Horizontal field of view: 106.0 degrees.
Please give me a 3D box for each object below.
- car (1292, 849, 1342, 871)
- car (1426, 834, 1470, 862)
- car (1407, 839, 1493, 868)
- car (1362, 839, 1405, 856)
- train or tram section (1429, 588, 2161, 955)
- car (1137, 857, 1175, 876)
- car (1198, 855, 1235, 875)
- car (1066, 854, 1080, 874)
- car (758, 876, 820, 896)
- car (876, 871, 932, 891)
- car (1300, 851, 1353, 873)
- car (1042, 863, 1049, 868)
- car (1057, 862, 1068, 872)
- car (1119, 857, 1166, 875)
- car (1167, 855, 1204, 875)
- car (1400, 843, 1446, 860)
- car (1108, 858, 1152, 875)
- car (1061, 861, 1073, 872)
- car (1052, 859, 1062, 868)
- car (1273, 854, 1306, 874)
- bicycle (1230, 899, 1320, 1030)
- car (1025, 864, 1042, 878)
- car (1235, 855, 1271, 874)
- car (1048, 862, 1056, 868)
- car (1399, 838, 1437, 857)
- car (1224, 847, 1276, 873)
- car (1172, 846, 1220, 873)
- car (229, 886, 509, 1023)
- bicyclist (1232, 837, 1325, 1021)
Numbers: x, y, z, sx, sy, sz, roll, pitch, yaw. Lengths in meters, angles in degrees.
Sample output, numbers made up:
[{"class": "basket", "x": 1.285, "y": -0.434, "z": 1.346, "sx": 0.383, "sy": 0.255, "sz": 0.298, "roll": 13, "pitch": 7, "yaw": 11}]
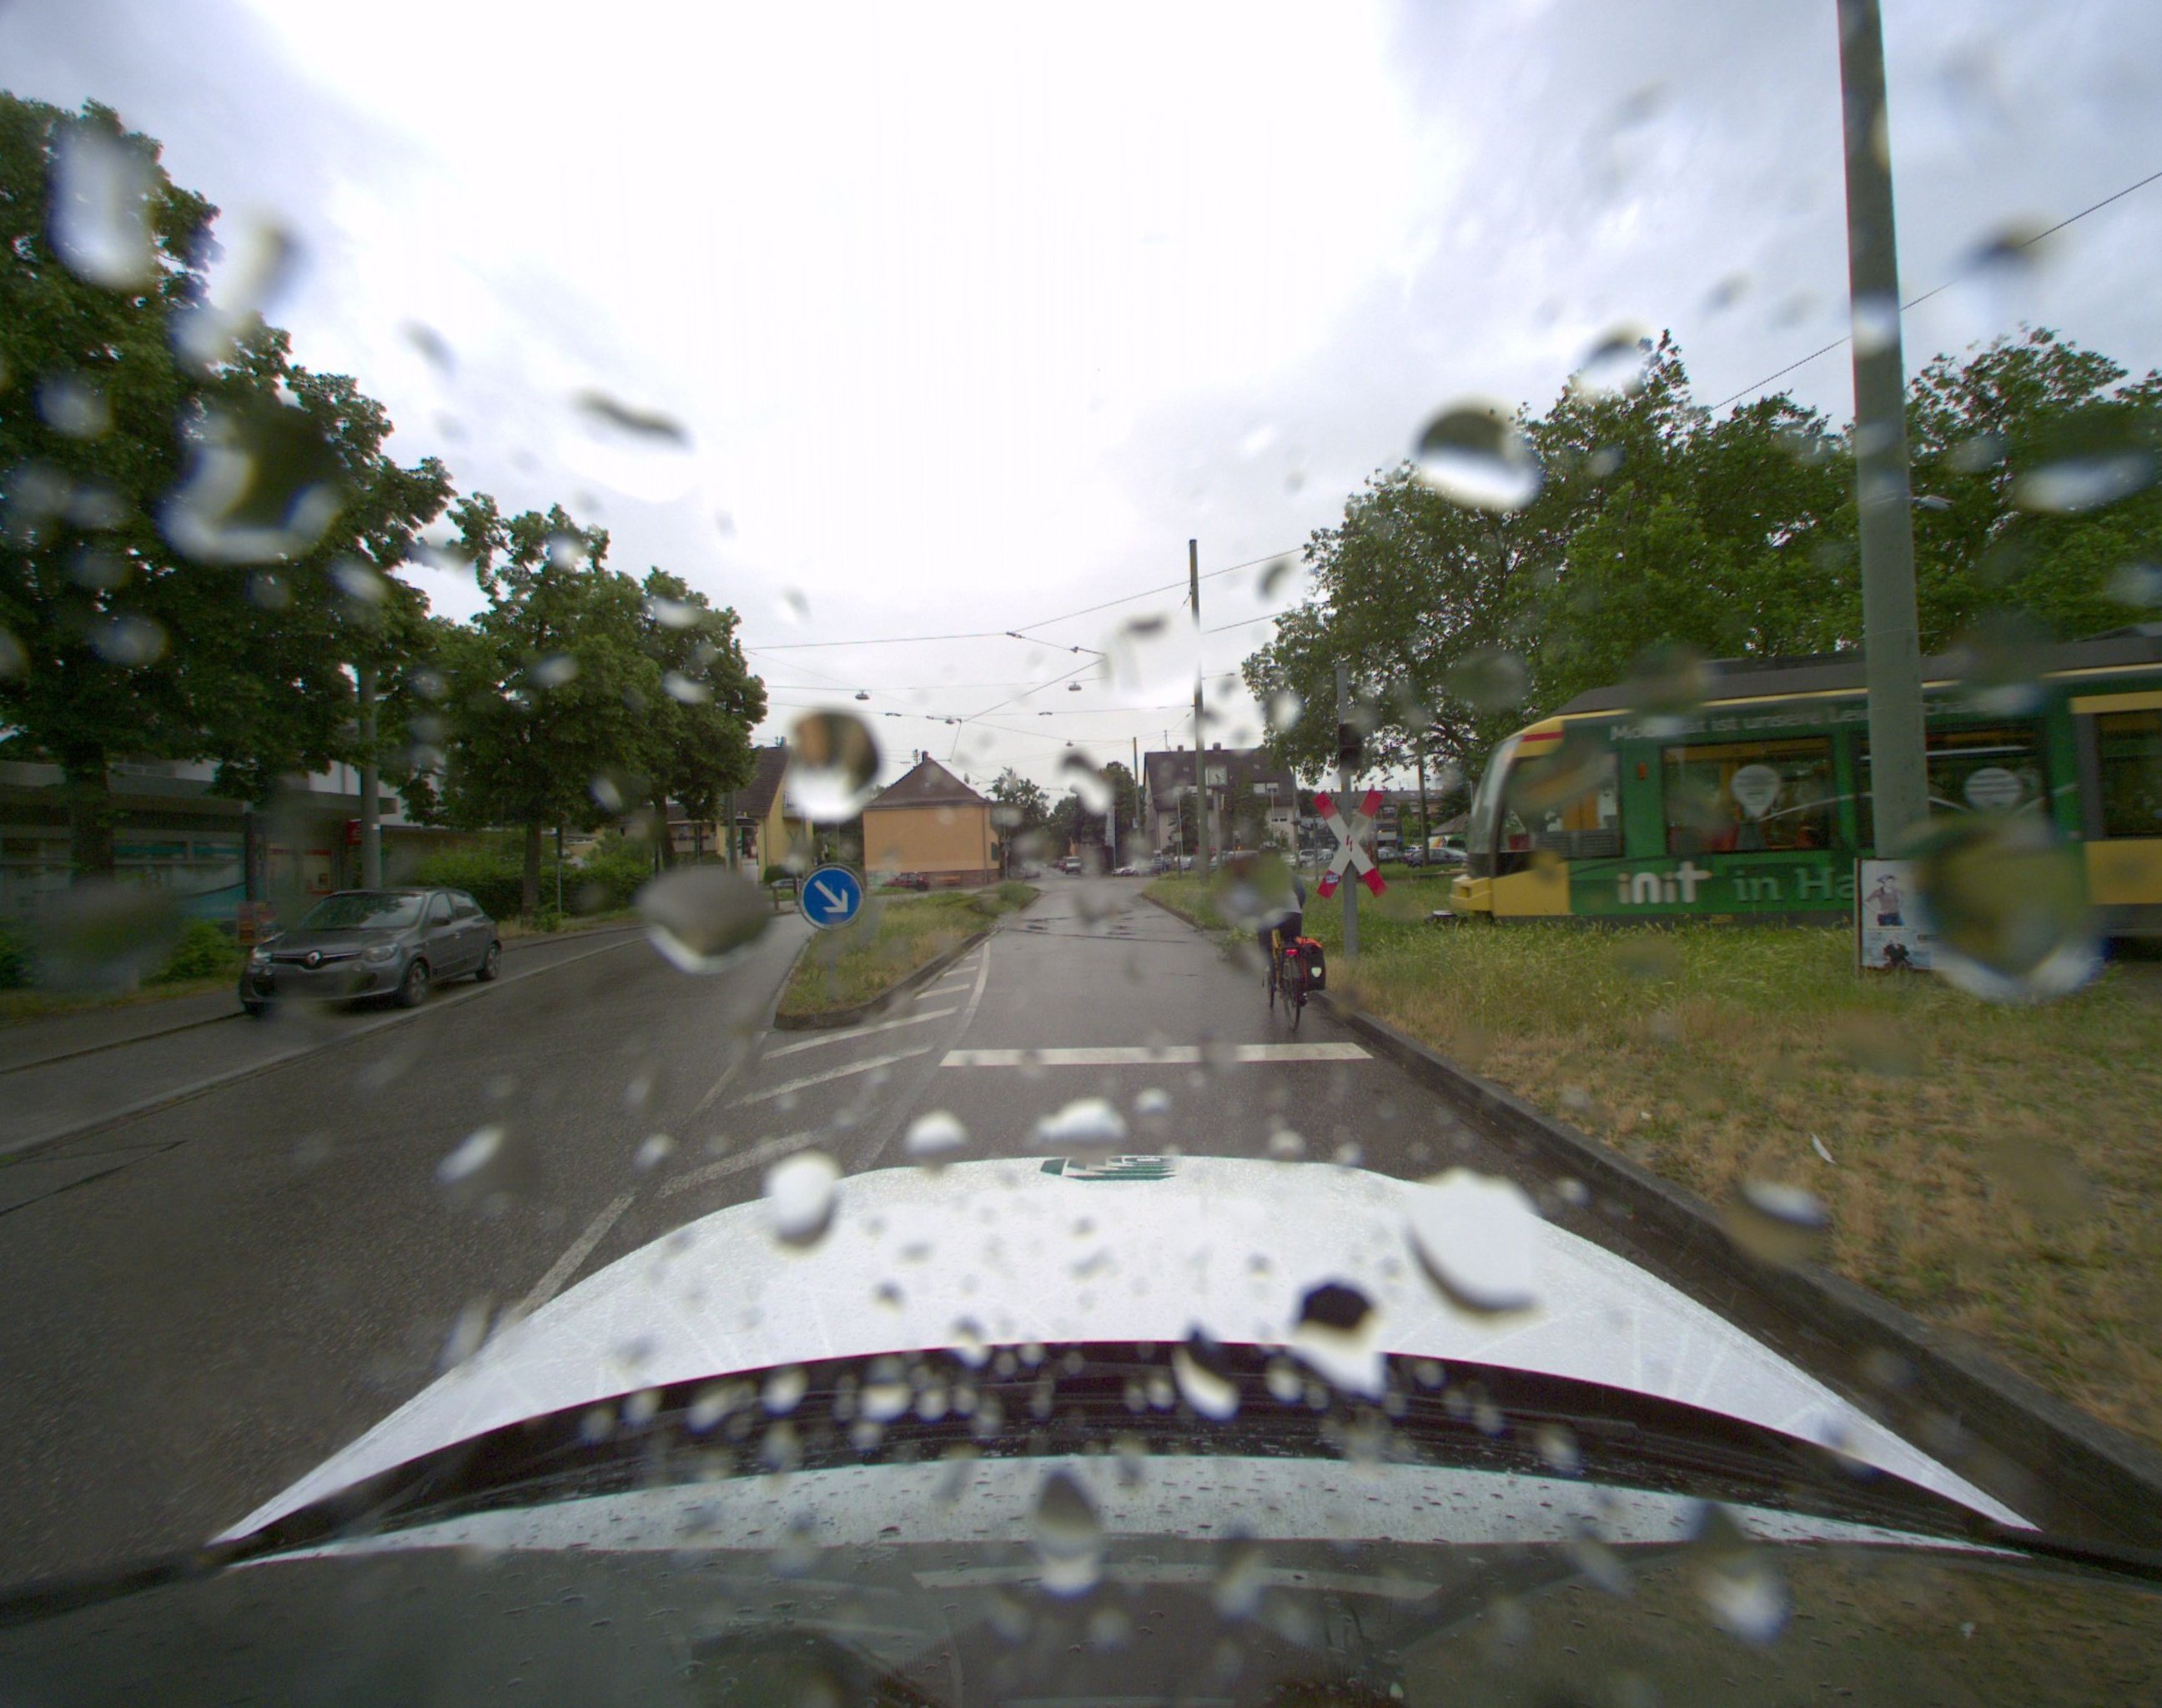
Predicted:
[{"class": "car", "x": 21.862, "y": 0.564, "z": 75.527, "sx": 3.974, "sy": 1.951, "sz": 1.999, "roll": 0, "pitch": -1, "yaw": -1}, {"class": "car", "x": 32.623, "y": -0.509, "z": 72.589, "sx": 1.987, "sy": 2.443, "sz": 4.354, "roll": 0, "pitch": -1, "yaw": 1}, {"class": "car", "x": 20.152, "y": 0.025, "z": 44.551, "sx": 1.821, "sy": 1.495, "sz": 3.867, "roll": 1, "pitch": -1, "yaw": -44}, {"class": "car", "x": 33.071, "y": -0.682, "z": 89.120, "sx": 3.968, "sy": 1.791, "sz": 2.002, "roll": 0, "pitch": -1, "yaw": 4}, {"class": "train or tram section", "x": 11.226, "y": -0.852, "z": 9.303, "sx": 12.986, "sy": 3.553, "sz": 2.782, "roll": -3, "pitch": -1, "yaw": 17}, {"class": "car", "x": 6.699, "y": 1.108, "z": 72.390, "sx": 1.975, "sy": 1.640, "sz": 4.024, "roll": -1, "pitch": -1, "yaw": 27}, {"class": "car", "x": 11.674, "y": 0.921, "z": 69.853, "sx": 1.975, "sy": 1.640, "sz": 4.024, "roll": -1, "pitch": -1, "yaw": 27}, {"class": "car", "x": -1.050, "y": 1.354, "z": 107.893, "sx": 1.799, "sy": 2.627, "sz": 3.999, "roll": 0, "pitch": -1, "yaw": 0}, {"class": "car", "x": -22.068, "y": 2.432, "z": 61.656, "sx": 3.979, "sy": 1.456, "sz": 1.830, "roll": 0, "pitch": -1, "yaw": -5}, {"class": "car", "x": -13.622, "y": 2.059, "z": 62.695, "sx": 3.979, "sy": 1.456, "sz": 1.830, "roll": 0, "pitch": -1, "yaw": -5}, {"class": "car", "x": 19.355, "y": 0.665, "z": 64.410, "sx": 3.670, "sy": 1.701, "sz": 1.891, "roll": 0, "pitch": -1, "yaw": 2}, {"class": "car", "x": -9.961, "y": 3.205, "z": 228.508, "sx": 1.799, "sy": 1.461, "sz": 3.999, "roll": 0, "pitch": -1, "yaw": 0}, {"class": "car", "x": -3.335, "y": 2.288, "z": 147.326, "sx": 1.799, "sy": 1.811, "sz": 3.999, "roll": 0, "pitch": -1, "yaw": 0}, {"class": "car", "x": 5.765, "y": 1.109, "z": 76.508, "sx": 4.015, "sy": 1.675, "sz": 1.979, "roll": 0, "pitch": -1, "yaw": -34}, {"class": "car", "x": 9.143, "y": 0.960, "z": 71.085, "sx": 1.975, "sy": 1.640, "sz": 4.024, "roll": -1, "pitch": -1, "yaw": 27}, {"class": "car", "x": 35.484, "y": -0.242, "z": 84.537, "sx": 3.971, "sy": 1.640, "sz": 1.847, "roll": 0, "pitch": -1, "yaw": 2}, {"class": "car", "x": 4.798, "y": 1.231, "z": 79.601, "sx": 4.015, "sy": 1.643, "sz": 1.979, "roll": 0, "pitch": -1, "yaw": -34}, {"class": "car", "x": -2.131, "y": 1.964, "z": 127.801, "sx": 1.799, "sy": 1.811, "sz": 3.999, "roll": 0, "pitch": -1, "yaw": 0}, {"class": "car", "x": -4.798, "y": 1.959, "z": 164.615, "sx": 1.799, "sy": 1.811, "sz": 3.999, "roll": 0, "pitch": -1, "yaw": 0}, {"class": "car", "x": 18.023, "y": 0.883, "z": 70.305, "sx": 1.823, "sy": 1.640, "sz": 4.024, "roll": -1, "pitch": -1, "yaw": 27}, {"class": "bicycle", "x": 1.812, "y": 0.991, "z": 7.796, "sx": 0.444, "sy": 1.004, "sz": 1.728, "roll": -2, "pitch": 0, "yaw": 1}, {"class": "car", "x": -5.536, "y": 2.006, "z": 95.636, "sx": 1.799, "sy": 1.651, "sz": 3.999, "roll": 0, "pitch": -1, "yaw": 0}, {"class": "car", "x": 14.789, "y": 0.901, "z": 69.995, "sx": 1.975, "sy": 1.640, "sz": 4.024, "roll": -1, "pitch": -1, "yaw": 27}, {"class": "car", "x": -7.536, "y": 2.858, "z": 211.319, "sx": 1.799, "sy": 1.564, "sz": 3.999, "roll": 0, "pitch": -1, "yaw": 0}, {"class": "car", "x": 38.974, "y": -0.742, "z": 94.279, "sx": 1.998, "sy": 2.014, "sz": 3.978, "roll": 0, "pitch": -1, "yaw": -16}, {"class": "car", "x": 15.680, "y": 0.554, "z": 75.645, "sx": 4.381, "sy": 2.325, "sz": 1.999, "roll": 0, "pitch": -1, "yaw": 0}, {"class": "car", "x": 11.235, "y": 0.525, "z": 79.326, "sx": 4.362, "sy": 2.566, "sz": 2.008, "roll": -1, "pitch": -1, "yaw": 16}, {"class": "car", "x": -9.707, "y": 1.248, "z": 11.501, "sx": 1.621, "sy": 1.496, "sz": 3.645, "roll": 0, "pitch": -1, "yaw": -17}, {"class": "bicyclist", "x": 1.831, "y": 0.671, "z": 7.662, "sx": 0.665, "sy": 1.626, "sz": 0.853, "roll": 0, "pitch": -1, "yaw": 1}]
